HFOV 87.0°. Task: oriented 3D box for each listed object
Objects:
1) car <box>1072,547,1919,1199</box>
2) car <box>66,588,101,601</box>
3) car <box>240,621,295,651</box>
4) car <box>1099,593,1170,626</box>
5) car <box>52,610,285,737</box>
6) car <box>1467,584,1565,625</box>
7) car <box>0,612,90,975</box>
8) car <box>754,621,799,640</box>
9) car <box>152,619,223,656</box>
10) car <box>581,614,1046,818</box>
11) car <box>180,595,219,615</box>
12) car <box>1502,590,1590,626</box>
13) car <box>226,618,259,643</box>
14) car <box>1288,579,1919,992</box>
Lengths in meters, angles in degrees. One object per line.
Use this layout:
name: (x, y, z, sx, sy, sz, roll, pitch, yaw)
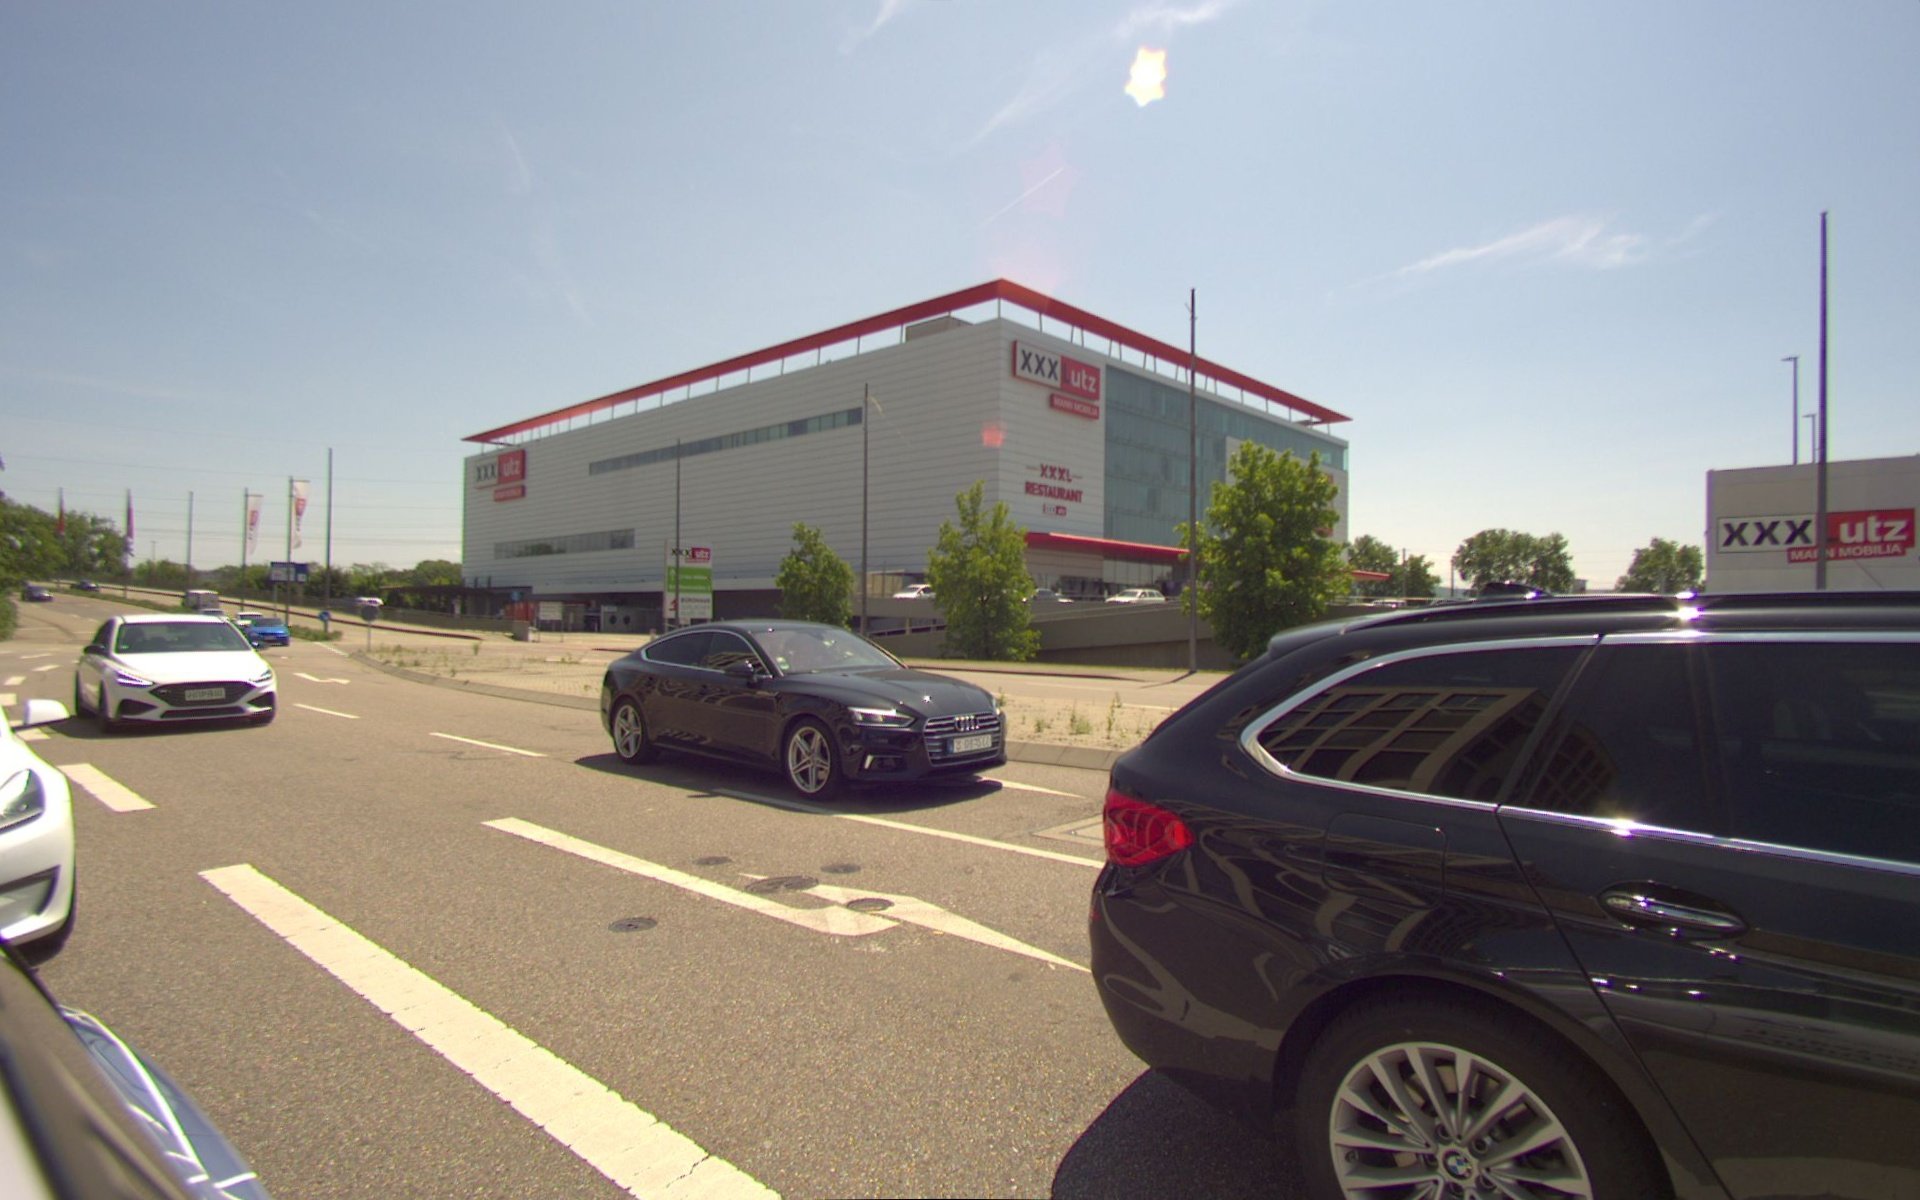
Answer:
car: (2.605, 0.650, 1.659, 4.620, 1.477, 1.781, -1, -1, 40)
car: (-99.285, -0.590, 114.631, 3.881, 1.312, 1.841, 0, -3, 32)
car: (-35.127, 1.803, 51.272, 1.775, 1.424, 4.412, 2, -2, -41)
car: (9.949, 0.574, 57.568, 2.001, 1.781, 4.140, 0, -2, 44)
car: (-10.797, 0.893, 13.698, 4.228, 1.461, 1.712, -1, -2, 41)
car: (27.765, 0.253, 50.573, 3.998, 1.946, 1.973, -1, -2, 41)
car: (-5.924, 0.804, 4.902, 4.401, 1.436, 1.857, -1, -1, 39)
car: (-16.868, 2.805, 93.271, 1.911, 1.632, 3.698, 0, -2, 41)
car: (-30.826, 1.456, 40.359, 1.776, 1.388, 4.410, 2, -2, -43)
car: (-1.542, 0.862, 9.173, 4.533, 1.401, 1.729, -2, -2, 43)
car: (-75.187, 0.501, 100.025, 4.832, 1.864, 1.814, -1, -2, 37)
car: (32.353, 0.455, 55.902, 3.996, 1.923, 1.974, -1, -2, 39)
car: (-47.320, 2.005, 66.737, 1.653, 1.587, 4.066, 1, -1, -37)
car: (3.765, 0.685, 4.601, 3.991, 1.505, 1.782, -1, -1, 36)
